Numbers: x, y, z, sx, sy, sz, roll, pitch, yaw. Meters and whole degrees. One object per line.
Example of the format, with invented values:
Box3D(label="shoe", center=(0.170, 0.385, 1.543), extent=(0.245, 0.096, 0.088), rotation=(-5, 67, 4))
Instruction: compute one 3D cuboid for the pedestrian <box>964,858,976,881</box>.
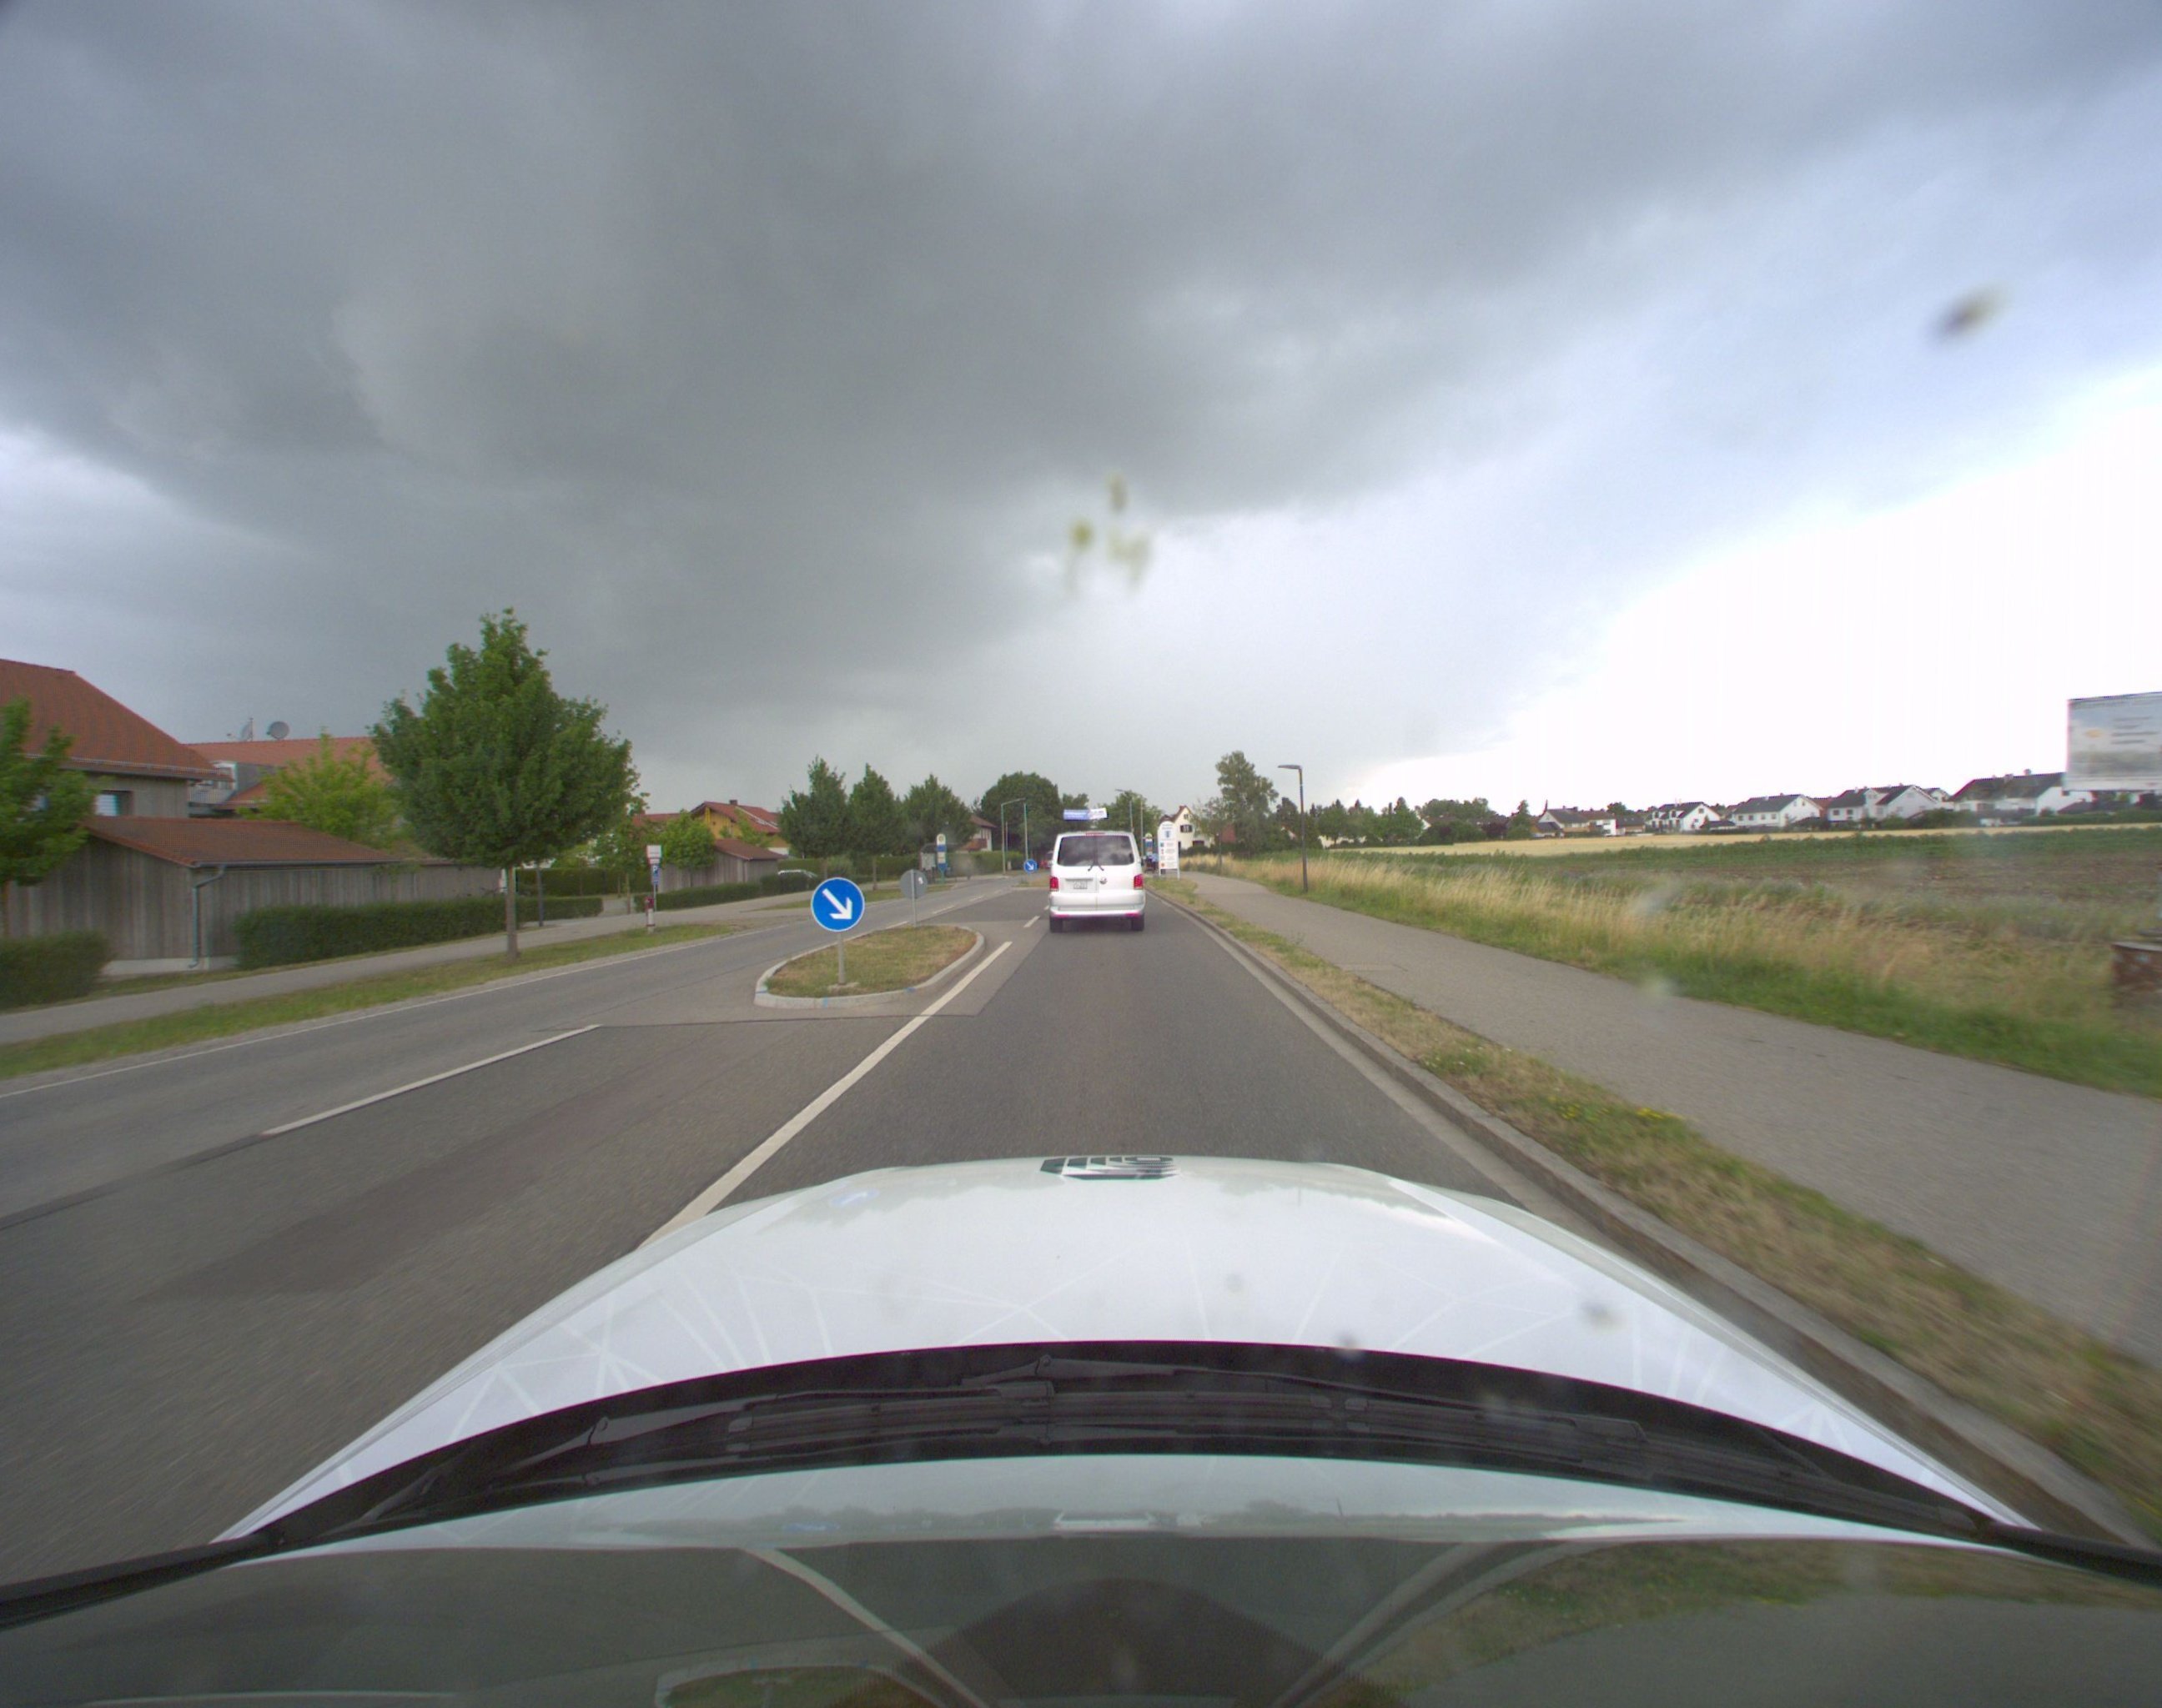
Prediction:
Box3D(label="pedestrian", center=(-7.699, 1.057, 56.452), extent=(0.621, 1.525, 0.680), rotation=(-4, 0, 1))

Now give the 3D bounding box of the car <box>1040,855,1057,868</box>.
Box3D(label="car", center=(-3.897, 0.886, 98.598), extent=(1.647, 1.429, 3.603), rotation=(-4, 0, 2))

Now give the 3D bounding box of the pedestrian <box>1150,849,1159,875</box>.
Box3D(label="pedestrian", center=(5.113, 0.552, 56.410), extent=(0.483, 1.732, 0.642), rotation=(-4, 0, 1))

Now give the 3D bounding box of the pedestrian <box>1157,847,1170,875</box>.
Box3D(label="pedestrian", center=(5.268, 0.421, 52.196), extent=(0.636, 1.732, 0.488), rotation=(-4, 0, 13))

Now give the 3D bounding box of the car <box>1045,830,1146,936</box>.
Box3D(label="car", center=(0.290, 0.523, 17.057), extent=(1.819, 1.913, 4.000), rotation=(-1, 0, 0))

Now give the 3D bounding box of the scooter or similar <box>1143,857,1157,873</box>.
Box3D(label="scooter or similar", center=(4.868, 0.767, 57.296), extent=(0.845, 1.103, 1.095), rotation=(-4, 0, 2))

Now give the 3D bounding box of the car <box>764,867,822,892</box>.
Box3D(label="car", center=(-21.258, 1.898, 60.264), extent=(3.581, 1.529, 1.658), rotation=(-4, 0, -2))
